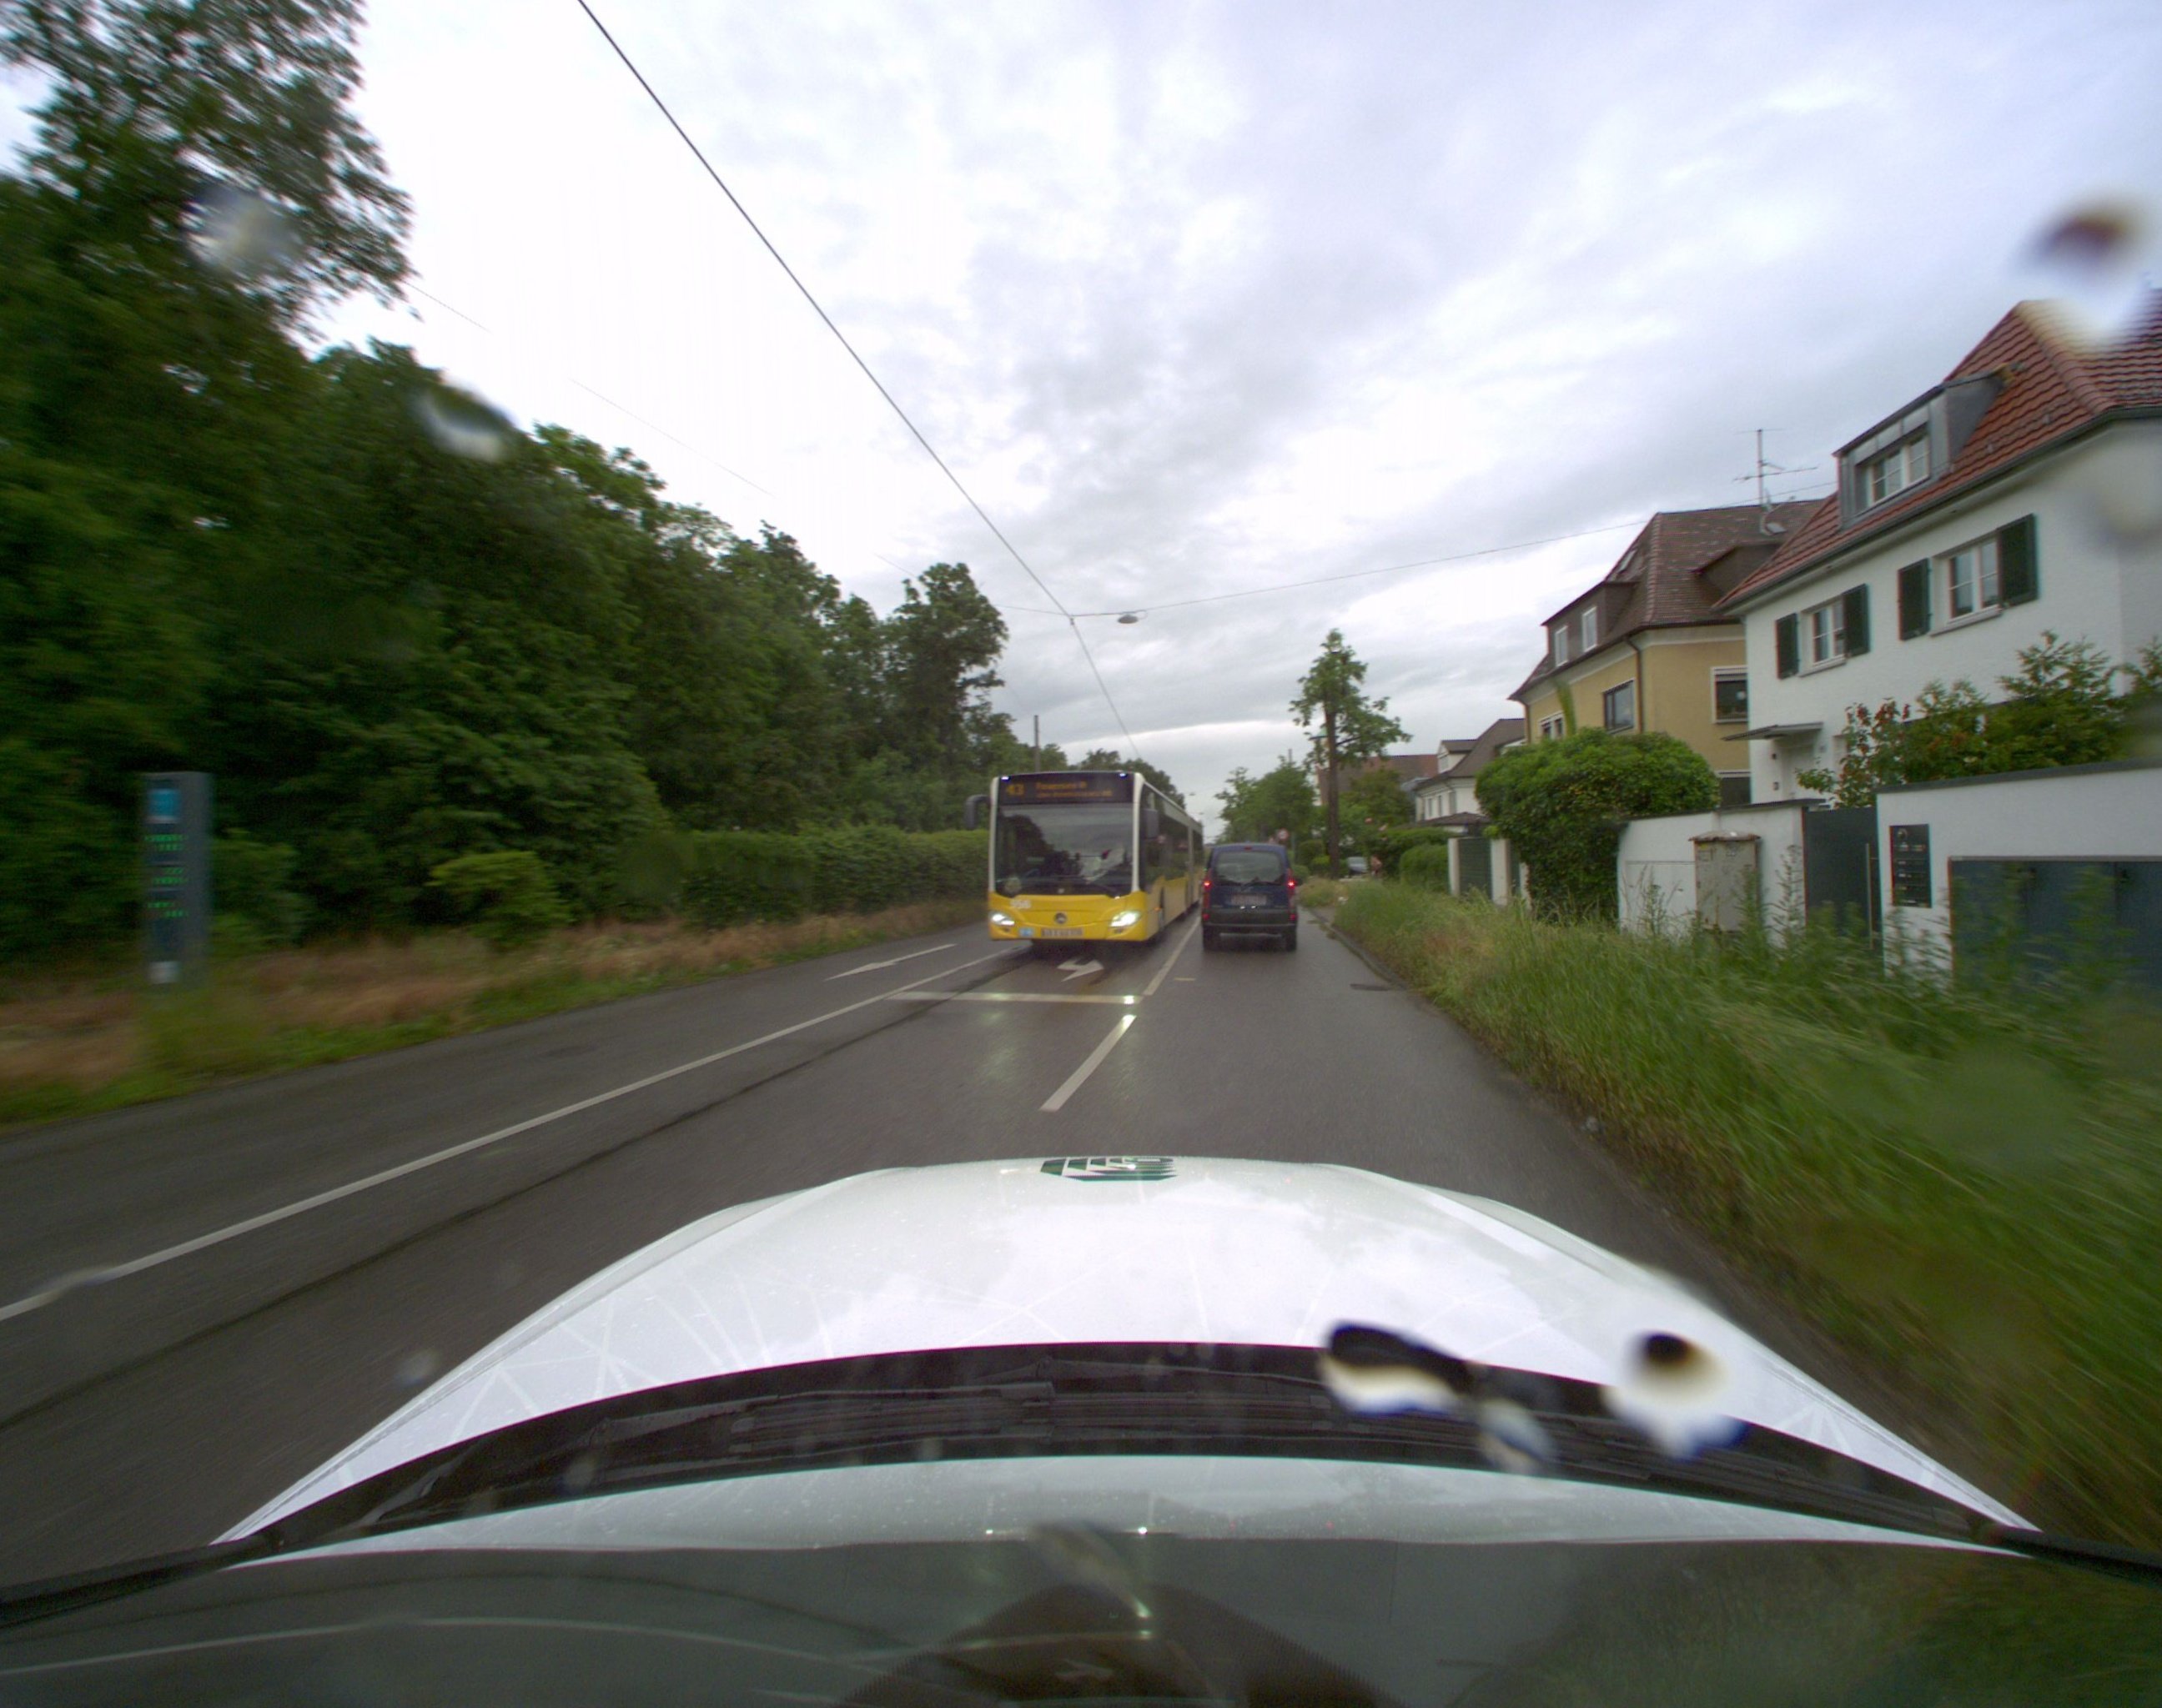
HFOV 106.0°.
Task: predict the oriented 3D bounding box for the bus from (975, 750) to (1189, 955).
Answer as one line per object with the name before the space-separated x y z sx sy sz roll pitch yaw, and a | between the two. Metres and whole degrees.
bus | 0.590 0.045 16.853 2.626 3.045 9.258 -1 -1 11

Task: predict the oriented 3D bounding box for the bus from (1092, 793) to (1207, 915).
bus | 2.438 0.067 25.639 2.578 3.158 8.662 -1 -1 11

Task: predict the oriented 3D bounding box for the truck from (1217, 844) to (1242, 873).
truck | 18.511 0.562 101.754 2.716 3.387 6.699 -2 -1 8

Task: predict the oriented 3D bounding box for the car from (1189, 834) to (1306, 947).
car | 3.066 0.630 15.182 1.797 1.797 4.012 -2 -1 11

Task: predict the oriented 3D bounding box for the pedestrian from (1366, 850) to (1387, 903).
pedestrian | 8.586 0.644 23.660 0.479 1.534 0.440 0 -1 8

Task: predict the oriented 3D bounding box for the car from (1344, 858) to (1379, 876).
car | 18.905 0.885 55.047 1.819 1.176 4.014 0 -1 13
